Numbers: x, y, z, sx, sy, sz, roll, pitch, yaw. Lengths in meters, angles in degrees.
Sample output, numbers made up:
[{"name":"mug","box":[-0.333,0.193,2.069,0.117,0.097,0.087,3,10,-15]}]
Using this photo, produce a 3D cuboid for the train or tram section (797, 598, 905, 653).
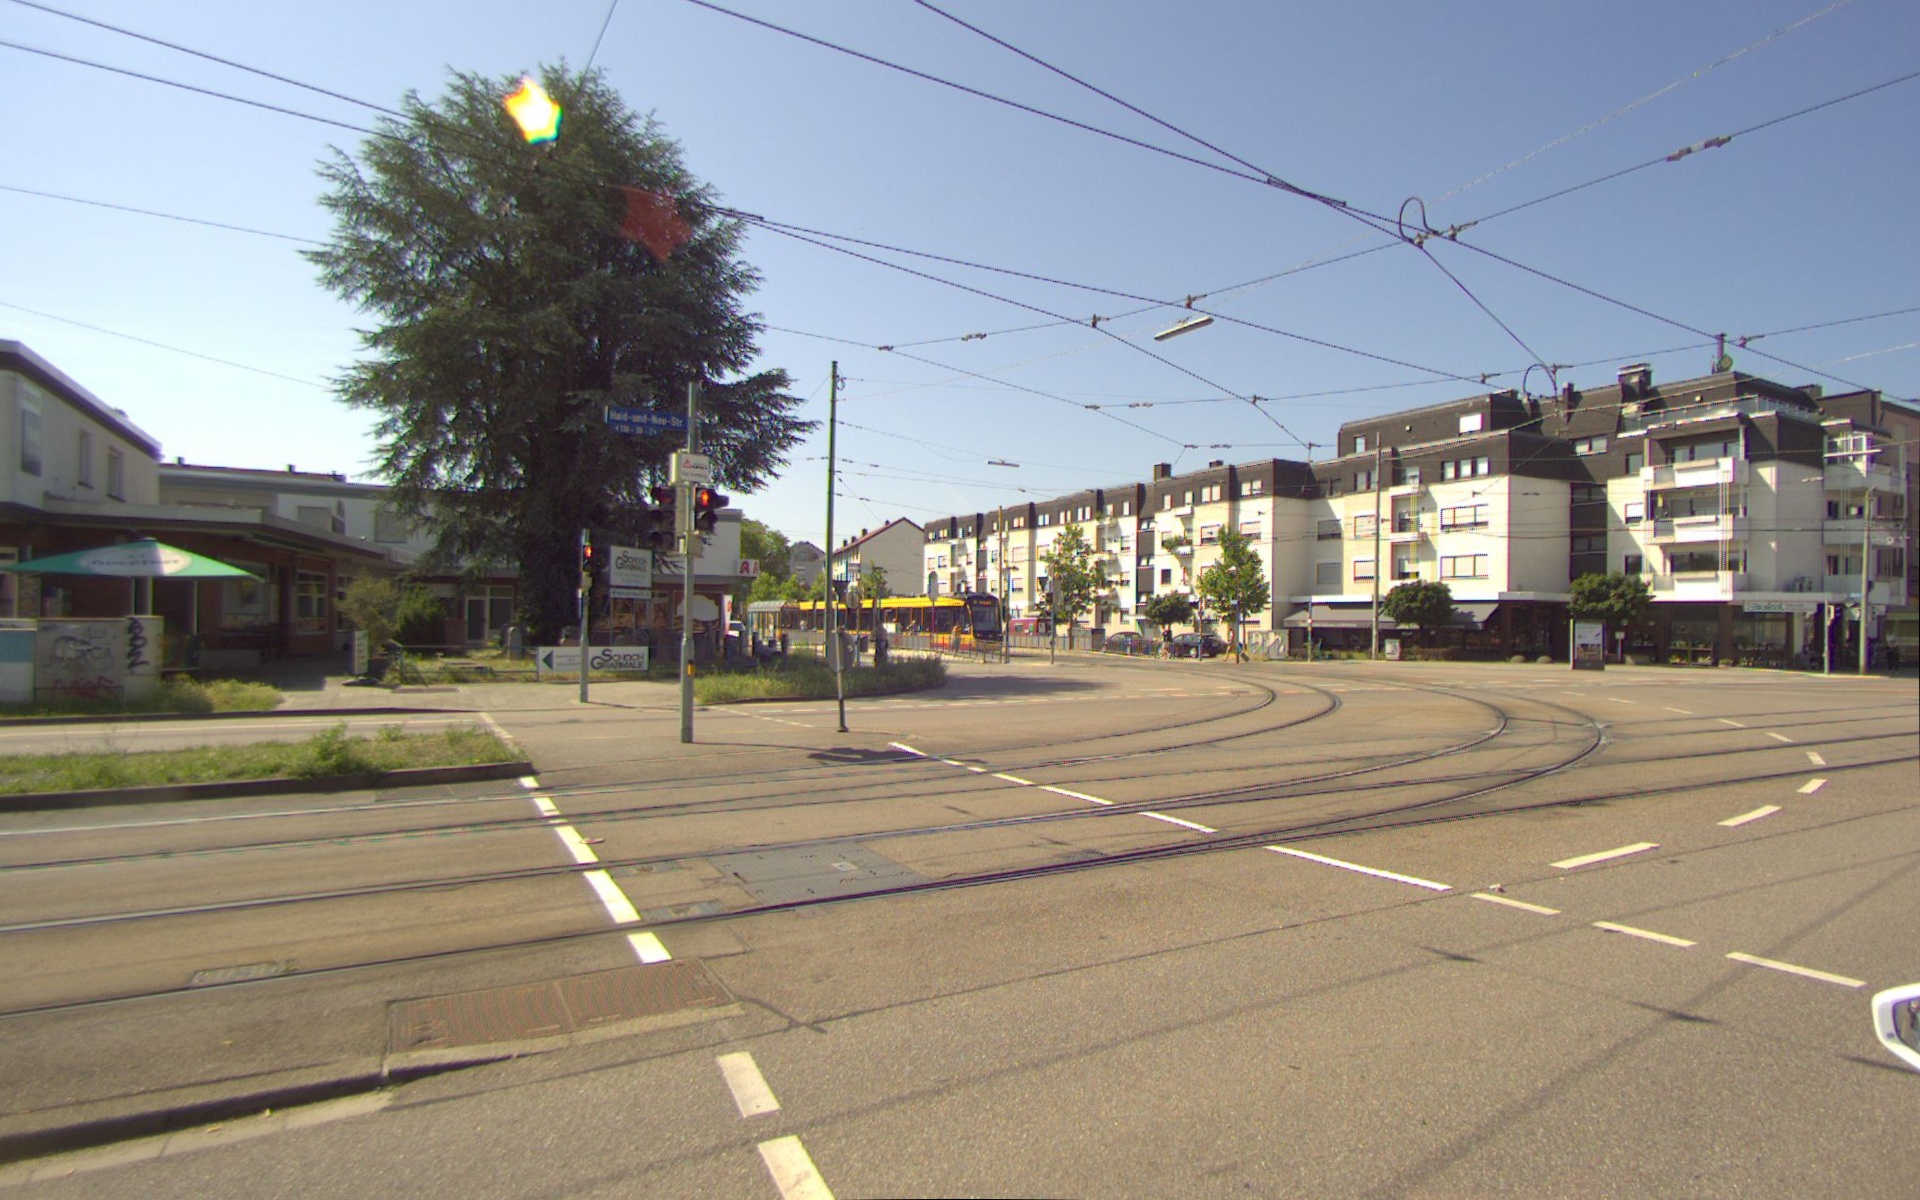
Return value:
[{"name":"train or tram section","box":[-8.290,1.870,73.685,2.735,3.706,13.803,2,-2,-29]}]

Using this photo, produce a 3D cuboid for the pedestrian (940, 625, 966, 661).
[{"name":"pedestrian","box":[-0.384,2.251,52.855,0.886,1.862,1.193,1,-2,-29]}]

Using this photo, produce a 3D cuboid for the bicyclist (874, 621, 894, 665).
[{"name":"bicyclist","box":[-2.779,1.565,36.846,0.619,1.595,0.766,1,-1,1]}]

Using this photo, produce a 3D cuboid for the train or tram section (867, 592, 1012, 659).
[{"name":"train or tram section","box":[-1.622,1.572,61.602,2.735,3.706,13.803,2,-2,-29]}]

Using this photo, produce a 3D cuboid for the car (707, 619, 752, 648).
[{"name":"car","box":[-15.742,2.257,68.441,1.755,1.886,4.625,2,-2,-29]}]

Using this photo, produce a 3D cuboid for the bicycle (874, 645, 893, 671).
[{"name":"bicycle","box":[-2.793,2.116,36.938,0.564,0.902,2.136,1,-2,-1]}]

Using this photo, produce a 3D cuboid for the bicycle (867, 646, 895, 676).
[{"name":"bicycle","box":[-2.678,2.056,34.308,0.525,0.959,2.138,0,-2,7]}]

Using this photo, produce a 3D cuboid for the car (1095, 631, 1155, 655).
[{"name":"car","box":[10.882,2.804,66.469,1.806,1.520,3.969,2,-2,-30]}]

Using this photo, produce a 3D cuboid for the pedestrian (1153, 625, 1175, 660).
[{"name":"pedestrian","box":[10.589,2.187,52.195,0.755,1.783,0.804,2,-2,-32]}]

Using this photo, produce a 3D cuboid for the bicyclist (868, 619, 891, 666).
[{"name":"bicyclist","box":[-2.736,1.445,34.087,0.619,1.578,0.766,0,-3,7]}]

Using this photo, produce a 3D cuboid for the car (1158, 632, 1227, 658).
[{"name":"car","box":[14.088,2.732,61.096,1.806,1.520,4.154,2,-2,-30]}]

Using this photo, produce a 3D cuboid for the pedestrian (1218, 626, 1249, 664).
[{"name":"pedestrian","box":[13.886,2.276,50.960,1.410,1.860,1.123,0,-2,19]}]

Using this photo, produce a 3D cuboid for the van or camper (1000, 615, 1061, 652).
[{"name":"van or camper","box":[5.322,2.534,76.483,2.348,2.659,4.852,2,-2,-30]}]

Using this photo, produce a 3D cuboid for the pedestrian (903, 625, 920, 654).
[{"name":"pedestrian","box":[-2.815,2.315,58.644,0.775,1.648,0.655,1,-2,-29]}]

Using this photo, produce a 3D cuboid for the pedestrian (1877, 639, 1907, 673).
[{"name":"pedestrian","box":[46.104,2.755,49.696,0.667,1.669,0.881,1,-1,4]}]
